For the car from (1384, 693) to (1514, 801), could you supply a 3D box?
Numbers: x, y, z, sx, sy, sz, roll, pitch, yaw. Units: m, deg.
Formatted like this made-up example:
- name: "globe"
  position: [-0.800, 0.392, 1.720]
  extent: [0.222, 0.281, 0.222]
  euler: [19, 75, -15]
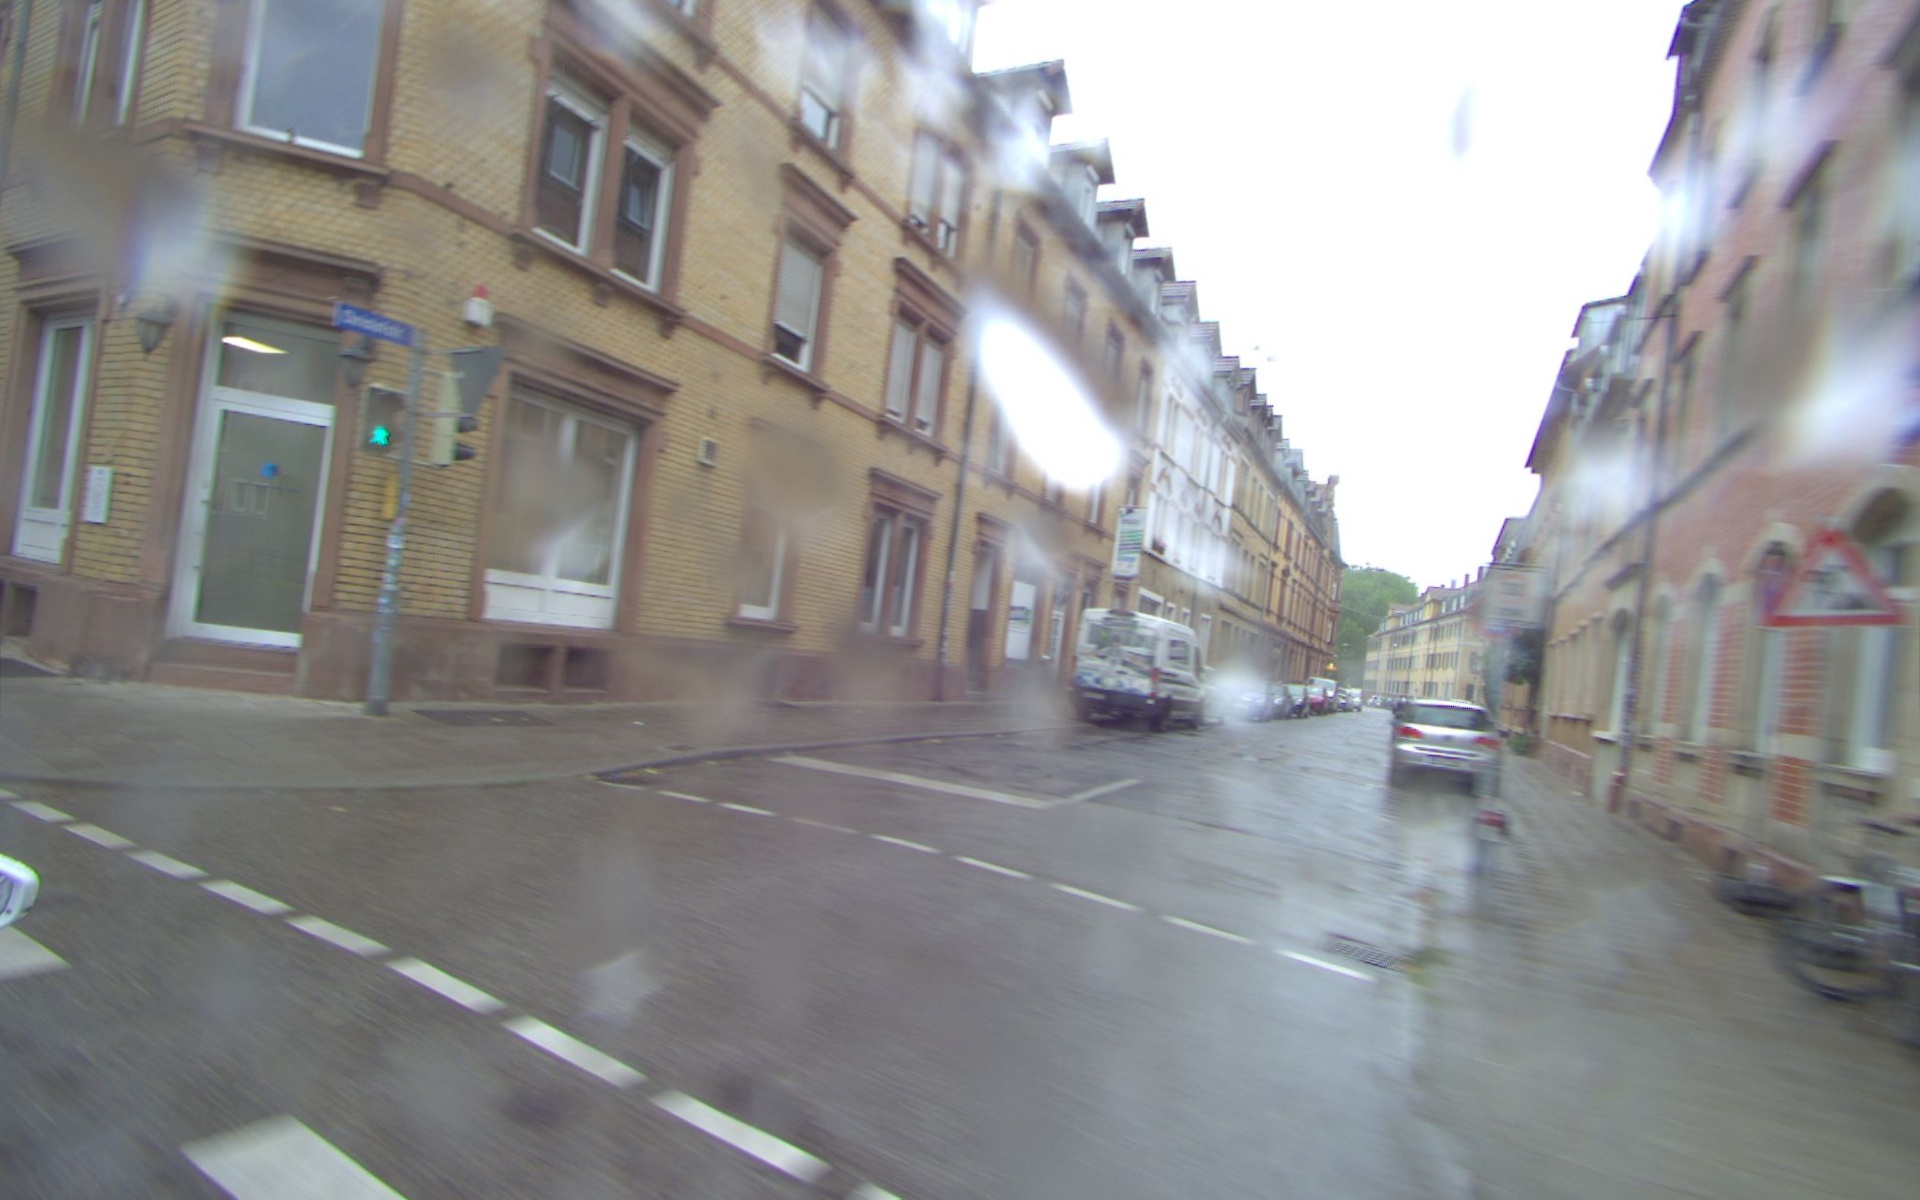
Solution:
- name: "car"
  position: [8.501, 2.477, 17.636]
  extent: [1.762, 1.508, 4.015]
  euler: [3, -4, 25]

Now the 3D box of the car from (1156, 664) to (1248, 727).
- name: "car"
  position: [6.952, 2.720, 28.693]
  extent: [1.762, 1.551, 3.739]
  euler: [3, -4, 25]

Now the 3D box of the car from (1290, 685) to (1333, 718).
- name: "car"
  position: [19.126, 5.512, 54.657]
  extent: [1.762, 1.551, 3.739]
  euler: [3, -4, 25]

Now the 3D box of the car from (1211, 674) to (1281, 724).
- name: "car"
  position: [10.346, 3.564, 36.244]
  extent: [1.762, 1.551, 3.739]
  euler: [3, -4, 25]

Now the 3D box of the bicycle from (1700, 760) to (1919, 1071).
- name: "bicycle"
  position: [4.538, 1.536, 5.243]
  extent: [0.666, 1.235, 1.693]
  euler: [6, -3, 25]

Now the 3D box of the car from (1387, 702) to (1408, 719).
- name: "car"
  position: [46.258, 11.711, 106.524]
  extent: [1.760, 1.551, 3.742]
  euler: [3, -4, 21]

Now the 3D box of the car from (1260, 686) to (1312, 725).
- name: "car"
  position: [15.013, 4.835, 46.191]
  extent: [1.762, 1.551, 3.739]
  euler: [3, -4, 25]

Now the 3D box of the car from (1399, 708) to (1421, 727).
- name: "car"
  position: [43.097, 11.227, 96.259]
  extent: [1.762, 1.551, 3.739]
  euler: [3, -4, 25]

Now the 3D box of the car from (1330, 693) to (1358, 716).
- name: "car"
  position: [29.841, 8.113, 78.120]
  extent: [1.762, 1.551, 3.739]
  euler: [3, -4, 25]

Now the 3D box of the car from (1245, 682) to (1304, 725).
- name: "car"
  position: [13.050, 4.279, 41.573]
  extent: [1.762, 1.551, 3.739]
  euler: [3, -4, 25]

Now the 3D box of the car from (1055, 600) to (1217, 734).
- name: "car"
  position: [4.160, 1.571, 22.993]
  extent: [2.085, 2.541, 4.746]
  euler: [6, -2, 27]

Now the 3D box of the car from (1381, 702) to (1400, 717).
- name: "car"
  position: [48.005, 12.193, 112.163]
  extent: [1.760, 1.551, 3.742]
  euler: [3, -4, 21]

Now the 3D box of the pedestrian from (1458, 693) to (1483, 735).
- name: "pedestrian"
  position: [26.323, 5.880, 51.842]
  extent: [0.974, 2.037, 1.104]
  euler: [6, -1, 28]

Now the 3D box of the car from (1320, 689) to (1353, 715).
- name: "car"
  position: [25.480, 6.915, 68.059]
  extent: [1.762, 1.551, 3.739]
  euler: [3, -4, 25]
